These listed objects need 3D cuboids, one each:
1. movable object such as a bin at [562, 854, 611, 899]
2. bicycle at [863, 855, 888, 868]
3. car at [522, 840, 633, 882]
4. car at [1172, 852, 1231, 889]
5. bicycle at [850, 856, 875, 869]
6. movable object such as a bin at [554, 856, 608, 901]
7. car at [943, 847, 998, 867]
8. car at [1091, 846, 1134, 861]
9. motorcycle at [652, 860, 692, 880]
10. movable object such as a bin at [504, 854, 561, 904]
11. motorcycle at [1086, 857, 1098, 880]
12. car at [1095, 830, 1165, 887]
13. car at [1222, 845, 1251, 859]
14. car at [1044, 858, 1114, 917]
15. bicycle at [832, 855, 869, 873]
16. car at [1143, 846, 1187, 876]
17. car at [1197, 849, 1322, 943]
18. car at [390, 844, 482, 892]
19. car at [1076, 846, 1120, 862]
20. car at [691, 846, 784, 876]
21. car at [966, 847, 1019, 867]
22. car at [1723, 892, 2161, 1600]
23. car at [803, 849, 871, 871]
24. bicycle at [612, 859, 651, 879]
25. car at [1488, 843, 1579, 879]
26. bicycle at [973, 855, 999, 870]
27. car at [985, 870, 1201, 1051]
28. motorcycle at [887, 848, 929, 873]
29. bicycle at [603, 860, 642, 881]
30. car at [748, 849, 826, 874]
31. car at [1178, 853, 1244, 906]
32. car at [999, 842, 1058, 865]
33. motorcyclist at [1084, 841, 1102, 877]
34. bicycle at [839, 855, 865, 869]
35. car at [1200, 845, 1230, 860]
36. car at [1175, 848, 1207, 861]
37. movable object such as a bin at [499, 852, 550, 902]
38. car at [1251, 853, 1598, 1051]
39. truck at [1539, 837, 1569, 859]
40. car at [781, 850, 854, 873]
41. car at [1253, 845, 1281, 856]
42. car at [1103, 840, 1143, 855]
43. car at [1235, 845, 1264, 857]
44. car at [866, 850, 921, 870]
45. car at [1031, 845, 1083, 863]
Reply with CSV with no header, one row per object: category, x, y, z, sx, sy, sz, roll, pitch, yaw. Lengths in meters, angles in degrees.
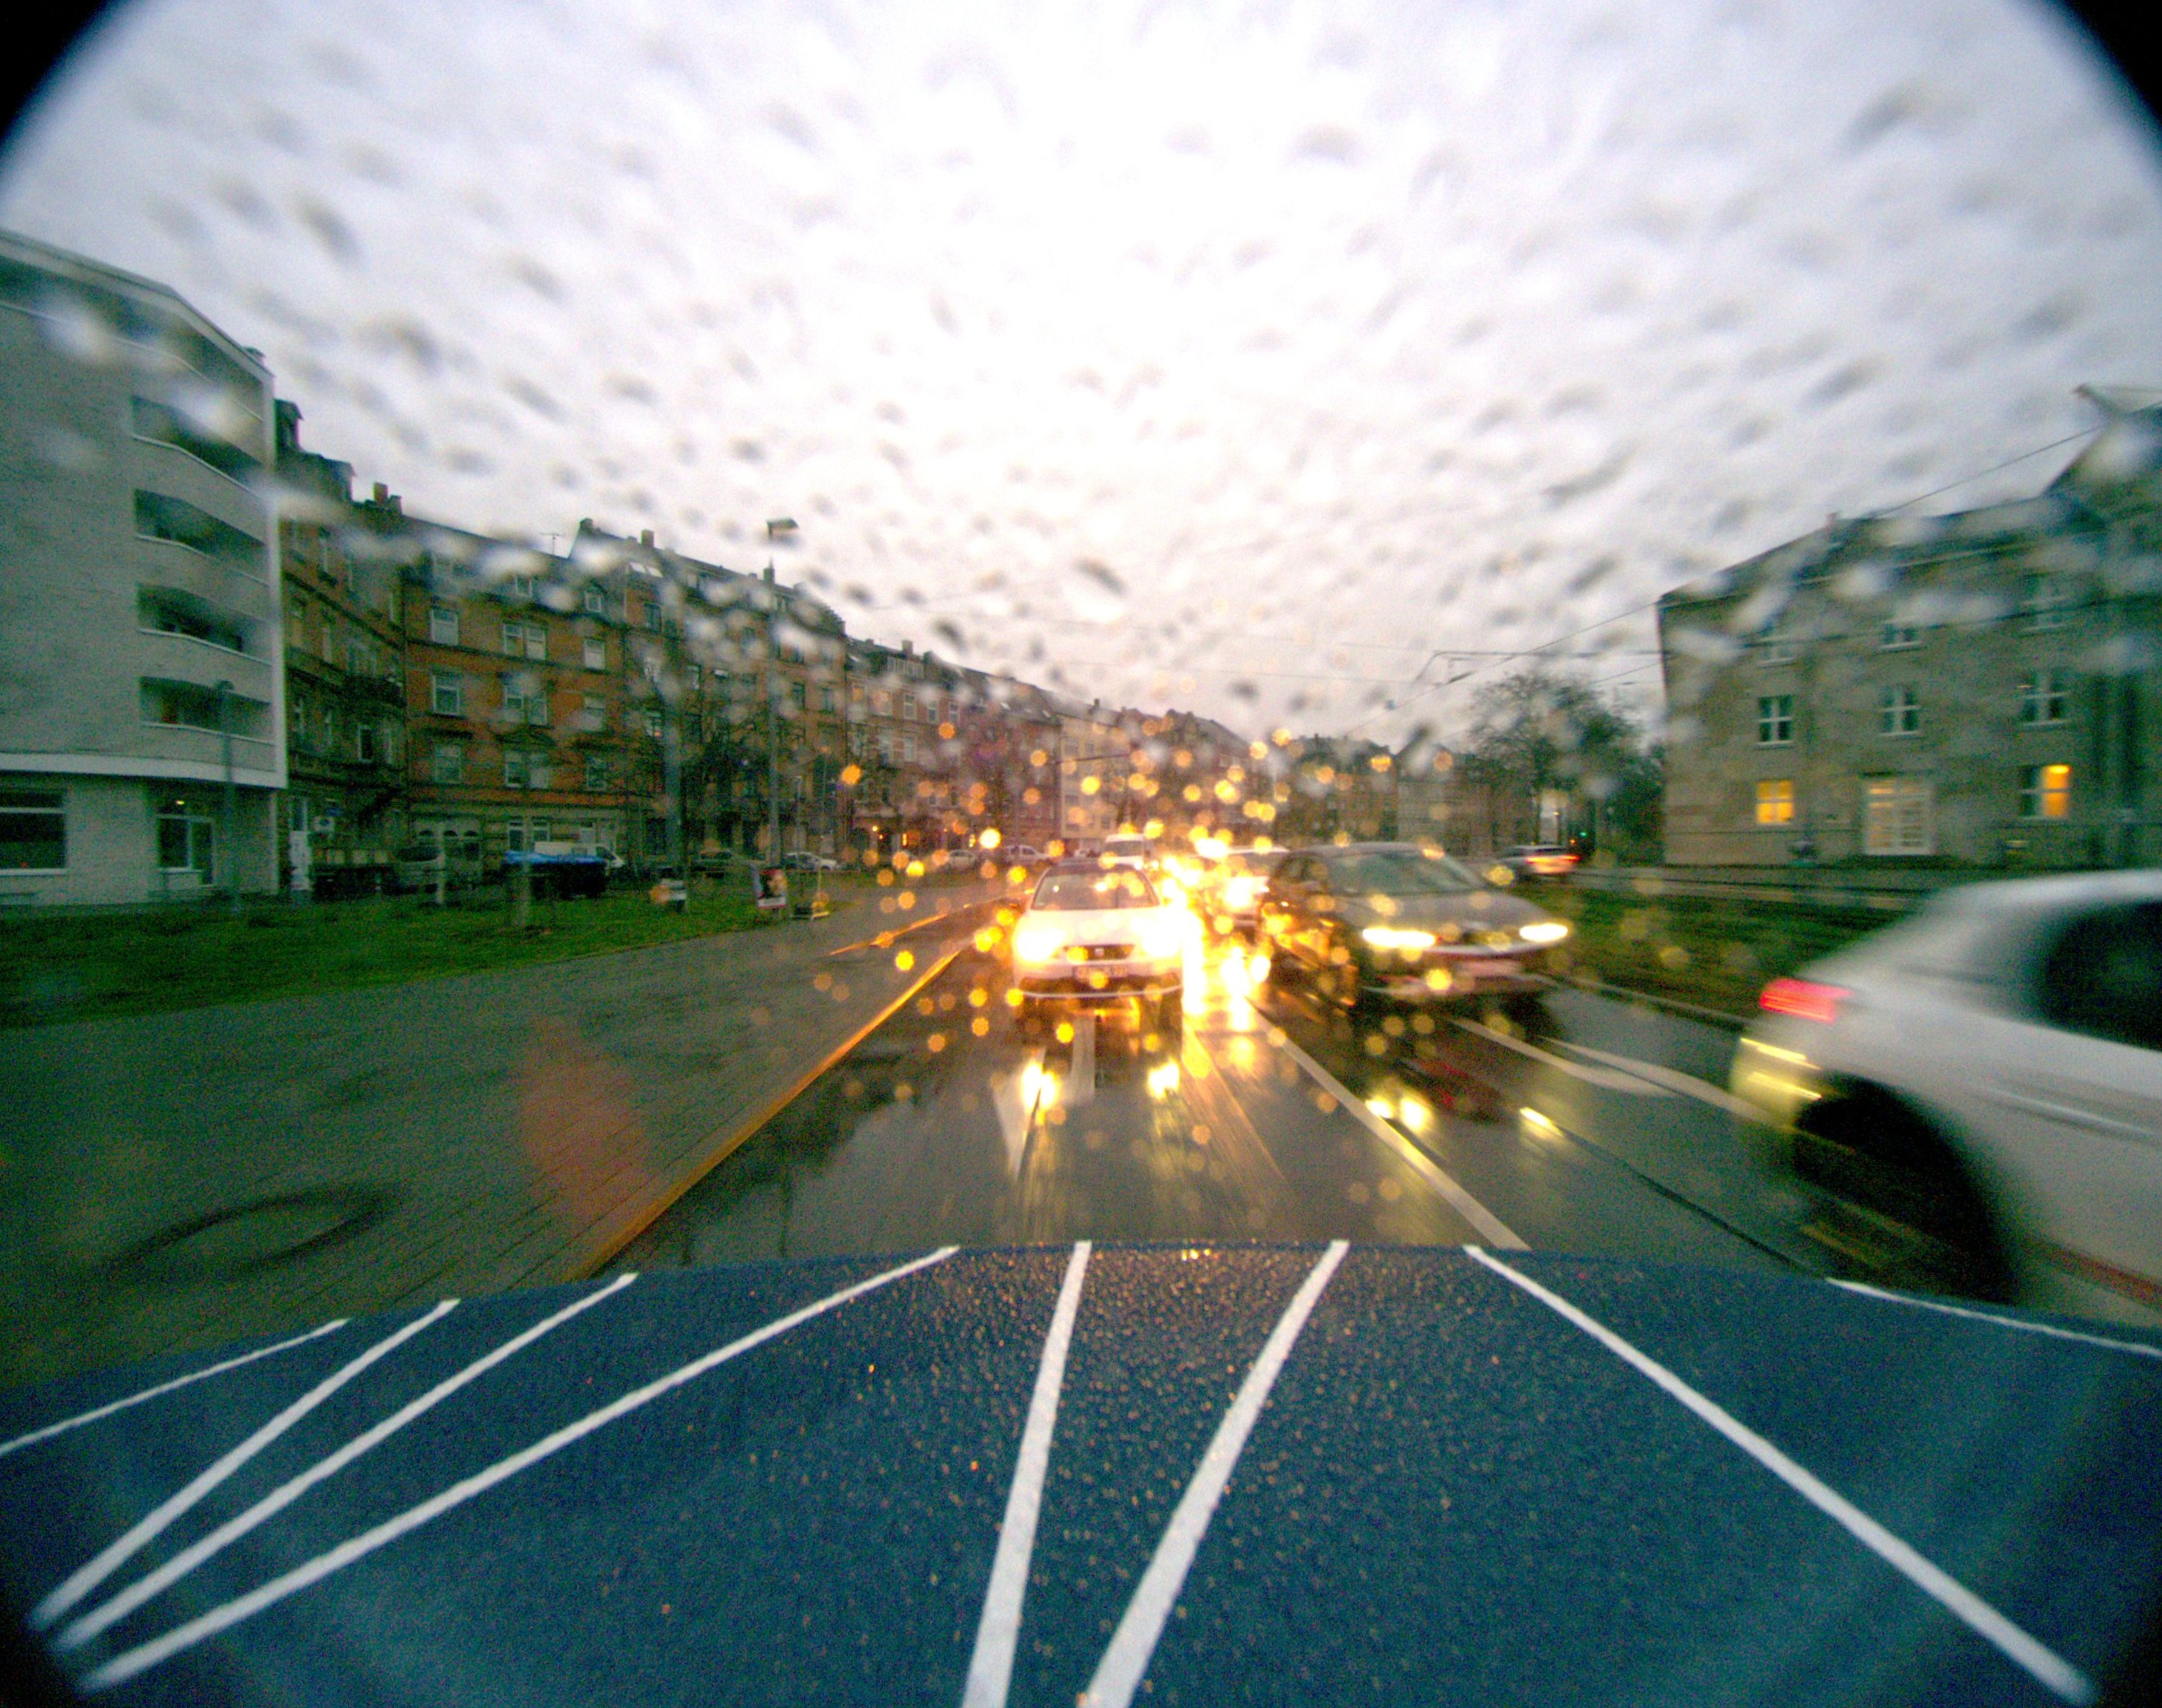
movable object such as a bin,-16.879,0.756,25.929,1.050,1.477,1.142,0,1,43
bicycle,-13.572,0.485,50.185,1.790,0.813,0.395,2,2,28
car,-27.796,0.358,42.082,1.994,2.176,4.671,0,1,36
car,5.220,0.652,32.454,1.874,1.466,4.176,-1,0,17
bicycle,-14.148,0.514,49.120,1.790,0.773,0.447,2,2,31
movable object such as a bin,-16.351,0.778,24.863,1.050,1.424,1.227,0,1,43
car,-7.962,0.221,54.920,3.683,1.391,1.522,0,1,8
car,2.864,-0.032,68.639,3.608,1.362,1.619,0,1,12
motorcycle,-20.025,0.769,37.218,1.793,0.926,0.513,1,2,8
movable object such as a bin,-17.111,0.749,23.711,1.050,1.502,1.255,0,1,43
motorcycle,0.585,0.775,40.960,0.483,1.176,2.410,-1,1,4
car,2.454,0.155,36.039,2.239,2.448,5.675,-1,1,14
car,18.178,-0.226,88.811,3.180,1.615,1.447,0,1,16
car,-0.040,0.855,21.070,1.723,1.380,3.821,-1,1,0
bicycle,-13.033,0.565,43.050,1.911,1.013,0.535,0,2,-33
car,5.178,0.416,46.477,1.874,1.679,4.175,-1,1,18
car,3.395,0.718,15.196,1.675,1.590,4.223,-1,1,2
car,-28.100,0.566,33.282,1.945,1.931,4.588,-1,1,-26
car,1.526,-0.031,66.435,3.608,1.362,1.619,0,1,12
car,-18.239,0.370,40.459,4.151,1.560,1.743,0,1,7
car,-6.670,0.231,57.345,3.683,1.428,1.522,0,1,8
car,3.258,0.897,0.817,1.763,1.455,3.916,-1,1,-2
car,-15.118,0.376,47.222,3.683,1.298,1.522,0,1,7
bicycle,-21.324,0.707,36.059,1.792,0.926,0.446,1,2,13
car,18.417,0.254,31.178,1.643,1.378,4.478,0,1,8
bicycle,-6.147,0.541,49.179,1.790,0.926,0.447,2,2,36
car,0.266,0.957,8.558,1.787,1.370,4.224,-2,0,5
motorcycle,-10.470,0.390,45.980,2.352,1.338,0.886,3,3,22
bicycle,-21.440,0.771,35.532,1.792,0.926,0.446,1,2,13
car,-16.397,0.416,42.463,3.683,1.298,1.743,0,1,7
car,3.864,0.708,22.976,1.689,1.422,3.347,-1,1,5
car,-4.074,-0.018,59.549,4.339,1.758,1.782,0,1,7
motorcyclist,0.666,0.263,40.878,0.885,1.871,0.922,-1,1,4
bicycle,-14.673,0.515,48.663,1.790,0.790,0.447,2,2,31
car,14.880,-0.142,84.259,3.180,1.615,1.430,0,1,16
car,11.871,0.075,82.034,3.180,1.420,1.430,0,1,16
movable object such as a bin,-18.107,0.717,24.736,1.050,1.566,1.142,0,1,43
car,3.277,0.795,8.343,1.825,1.561,4.361,-1,1,0
truck,45.046,-0.608,72.310,1.833,2.032,4.008,0,1,40
car,-15.511,0.446,44.780,3.683,1.298,1.669,0,1,7
car,22.993,-0.408,93.893,3.180,1.276,1.383,0,1,17
car,3.958,-0.620,71.078,3.610,1.362,1.618,0,1,6
car,20.189,-0.357,90.985,3.180,1.405,1.383,0,1,17
car,-12.817,0.401,52.064,3.296,1.298,1.522,0,1,8
car,-1.924,0.011,61.704,3.957,1.436,1.703,0,1,13
